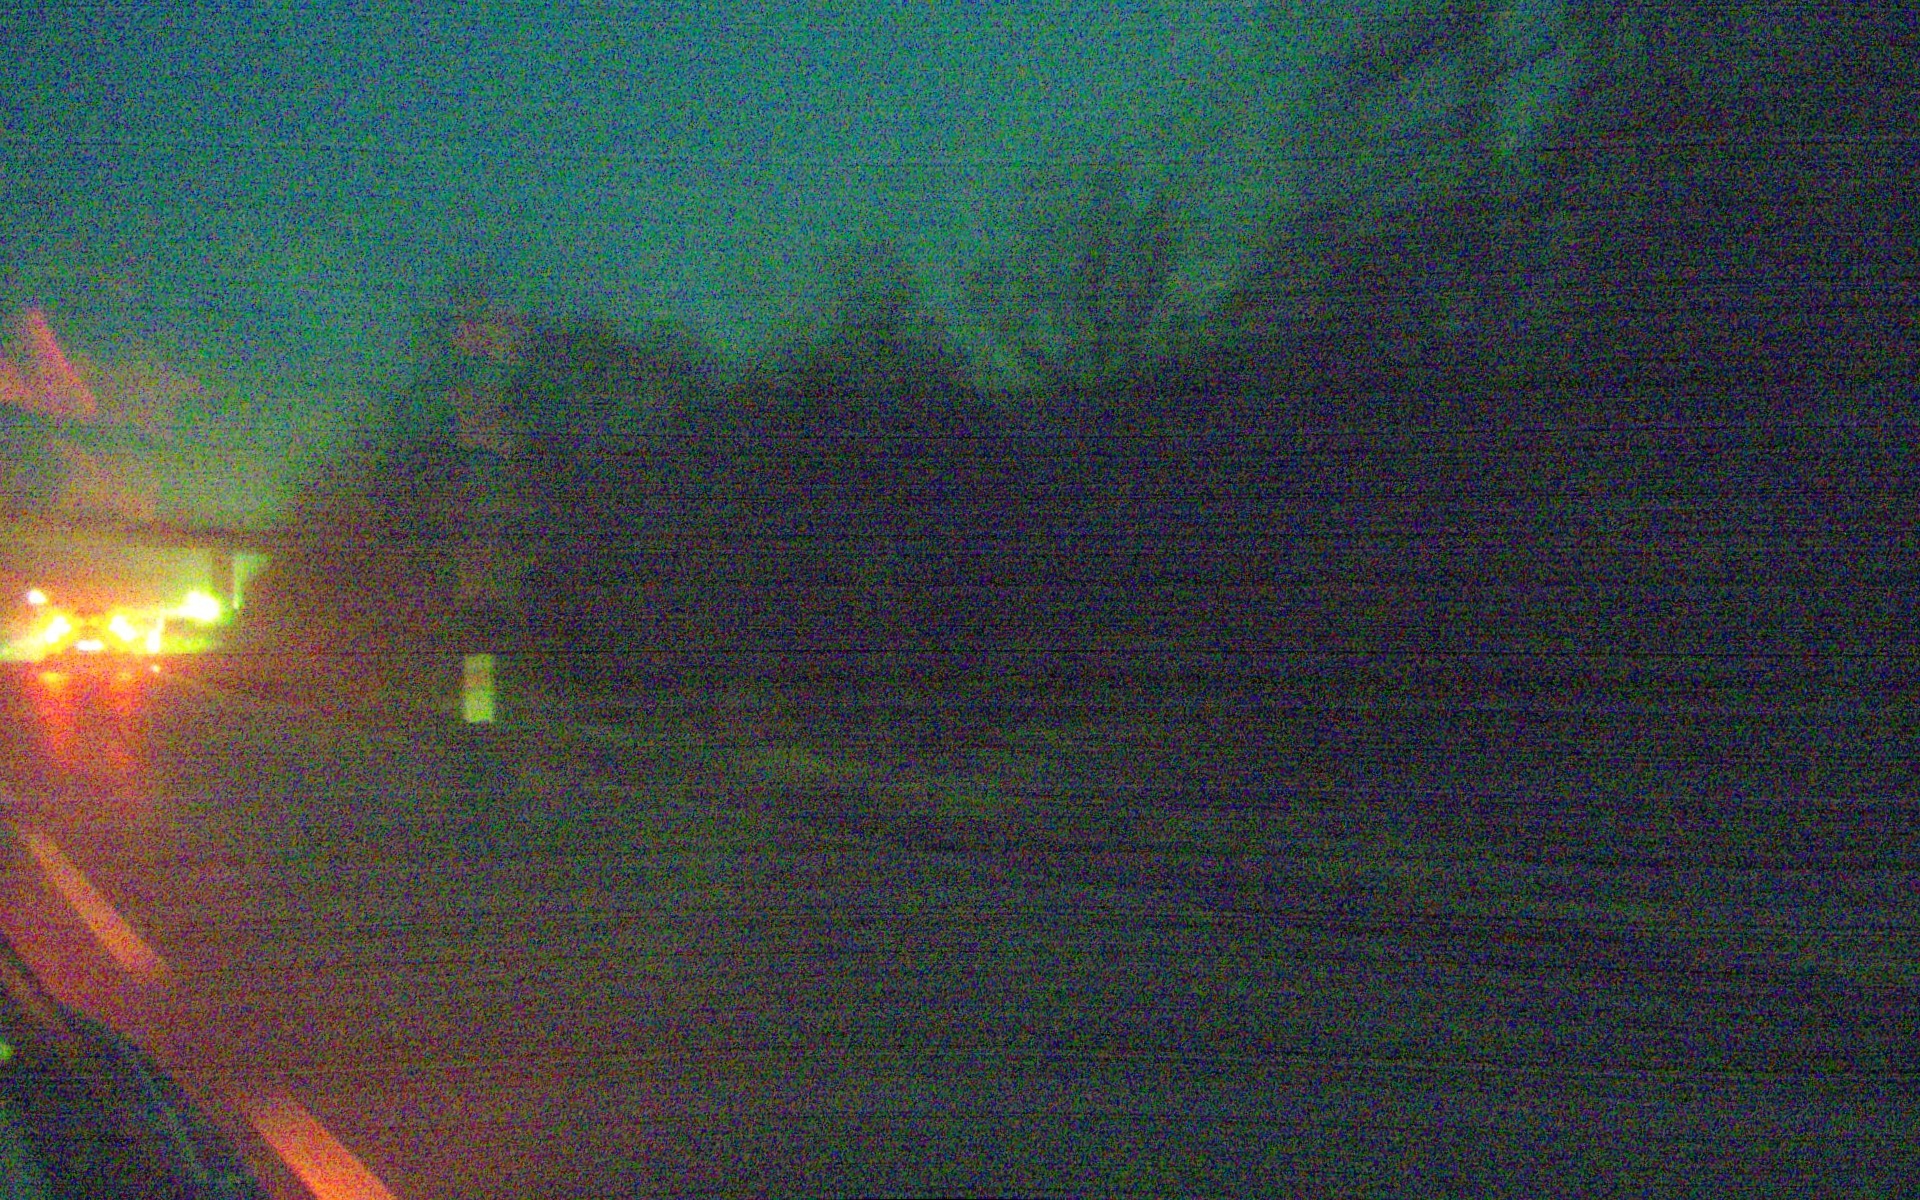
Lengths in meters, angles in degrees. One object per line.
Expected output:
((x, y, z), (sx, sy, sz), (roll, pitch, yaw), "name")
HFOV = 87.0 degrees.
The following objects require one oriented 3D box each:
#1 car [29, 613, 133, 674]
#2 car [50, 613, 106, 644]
((-27.111, 1.301, 31.163), (4.986, 1.721, 1.971), (-1, -3, 44), "car")
((-47.619, 1.542, 54.718), (1.905, 1.596, 4.995), (2, -2, -37), "car")
